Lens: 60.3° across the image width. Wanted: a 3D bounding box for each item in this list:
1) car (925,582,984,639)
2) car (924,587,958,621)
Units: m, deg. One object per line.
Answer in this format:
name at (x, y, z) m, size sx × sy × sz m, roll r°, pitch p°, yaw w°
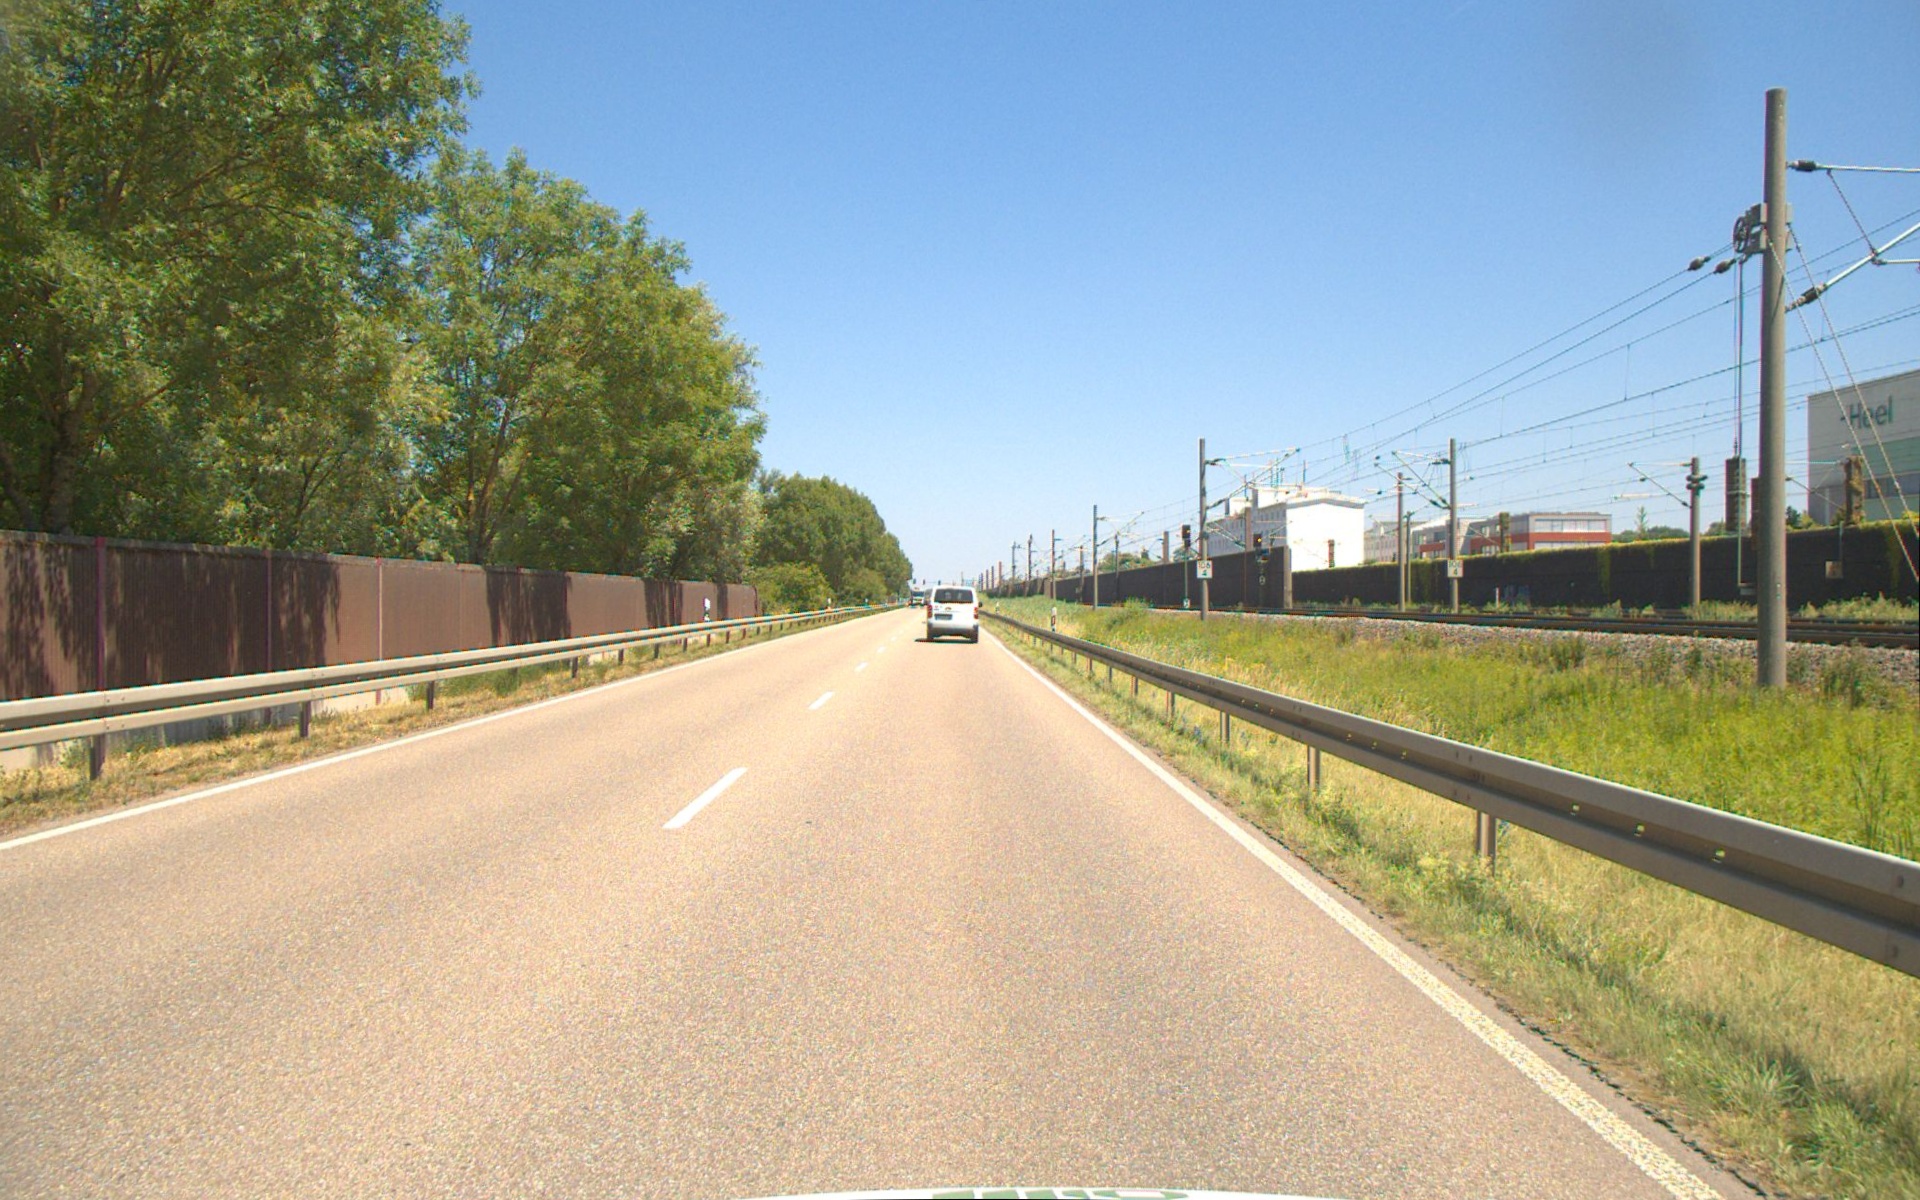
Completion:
car at (-0.219, 0.369, 58.644) m, size 1.953 × 1.882 × 3.999 m, roll 2°, pitch 0°, yaw -1°
car at (-1.163, 0.230, 99.433) m, size 1.953 × 1.882 × 3.999 m, roll 2°, pitch 0°, yaw -1°
